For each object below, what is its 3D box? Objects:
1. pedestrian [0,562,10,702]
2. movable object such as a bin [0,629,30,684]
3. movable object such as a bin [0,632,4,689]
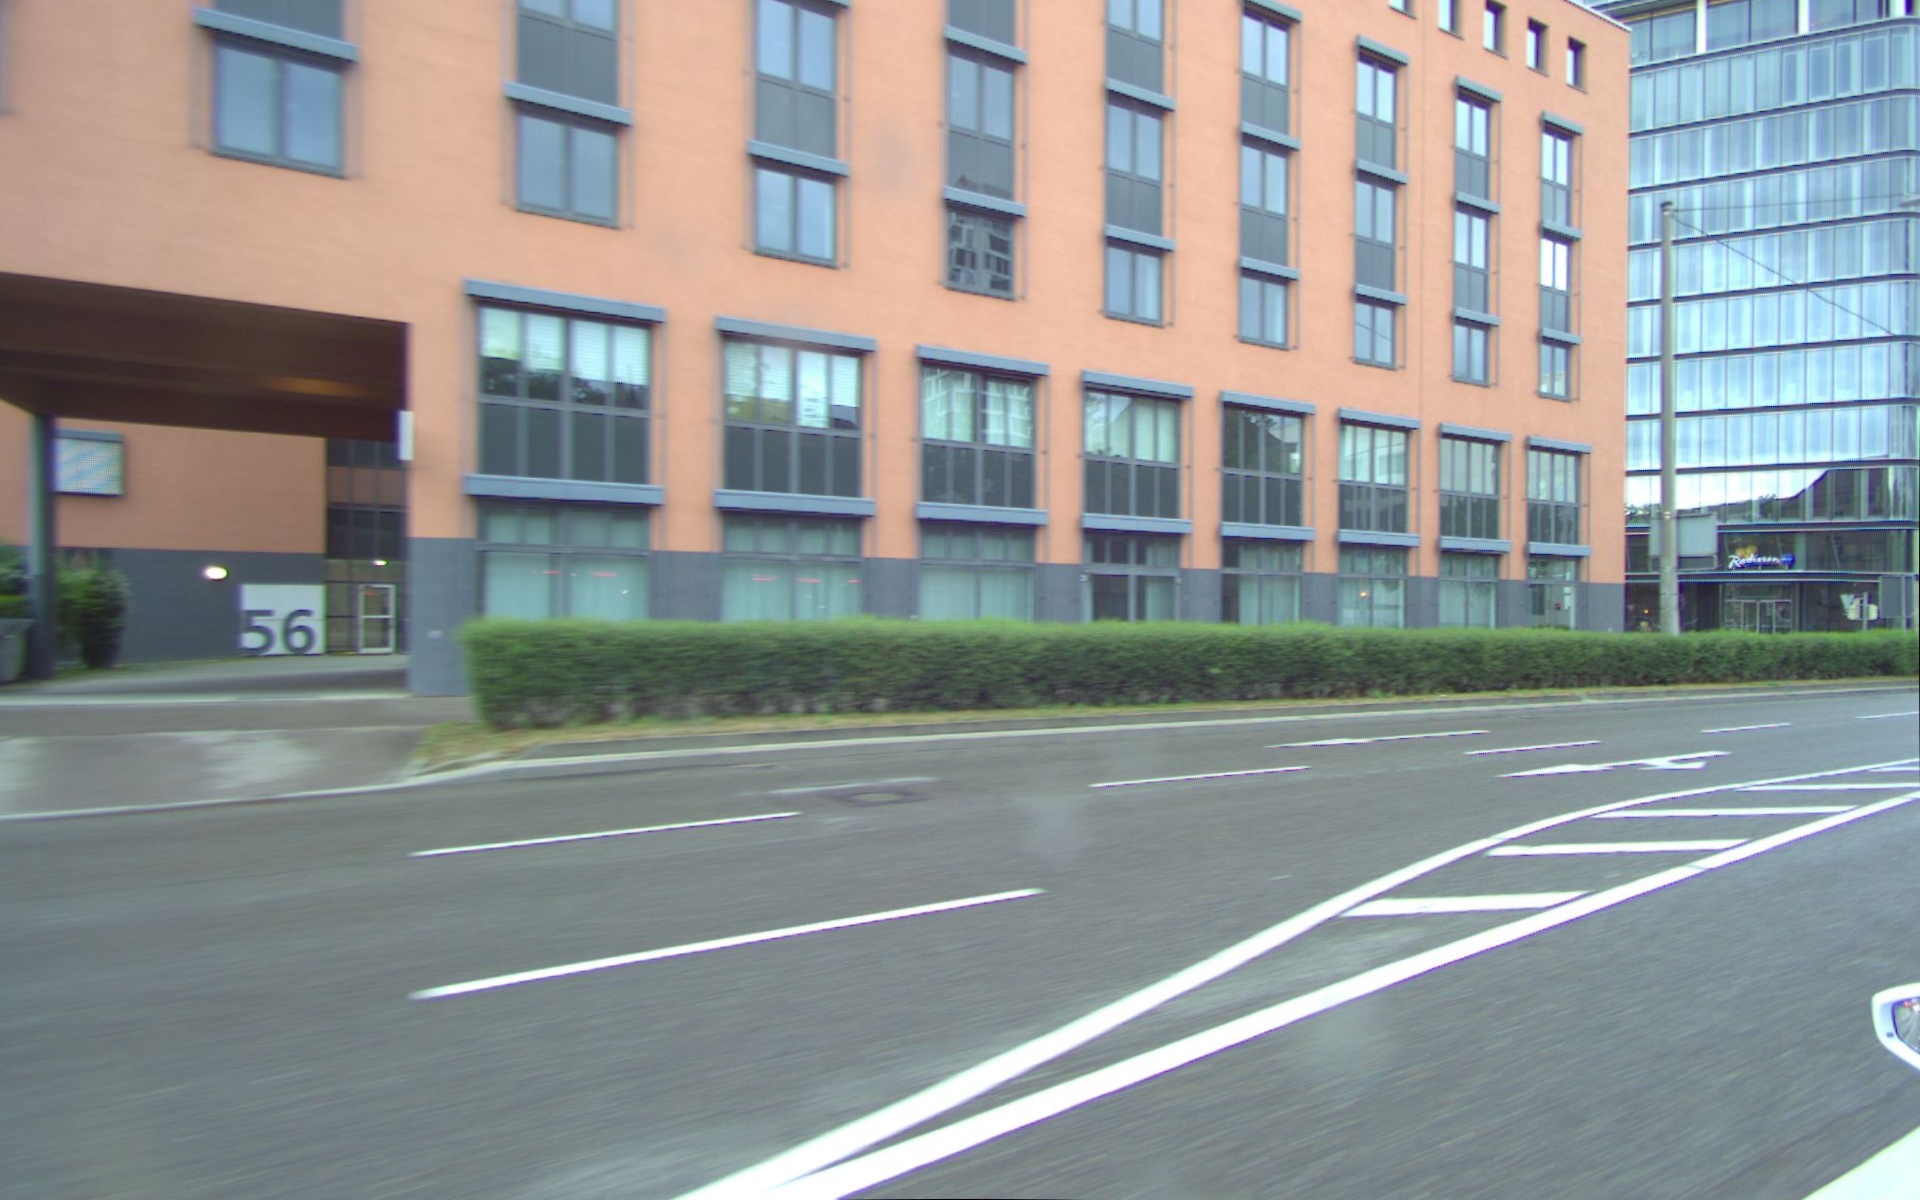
[{"bbox_3d":[-13.125,0.421,13.111,0.875,1.865,0.742,1,1,-29],"label":"pedestrian"},{"bbox_3d":[-21.849,1.276,22.923,0.665,1.219,1.200,1,0,-30],"label":"movable object such as a bin"},{"bbox_3d":[-20.604,1.288,20.970,0.665,1.219,1.200,1,0,-30],"label":"movable object such as a bin"}]
